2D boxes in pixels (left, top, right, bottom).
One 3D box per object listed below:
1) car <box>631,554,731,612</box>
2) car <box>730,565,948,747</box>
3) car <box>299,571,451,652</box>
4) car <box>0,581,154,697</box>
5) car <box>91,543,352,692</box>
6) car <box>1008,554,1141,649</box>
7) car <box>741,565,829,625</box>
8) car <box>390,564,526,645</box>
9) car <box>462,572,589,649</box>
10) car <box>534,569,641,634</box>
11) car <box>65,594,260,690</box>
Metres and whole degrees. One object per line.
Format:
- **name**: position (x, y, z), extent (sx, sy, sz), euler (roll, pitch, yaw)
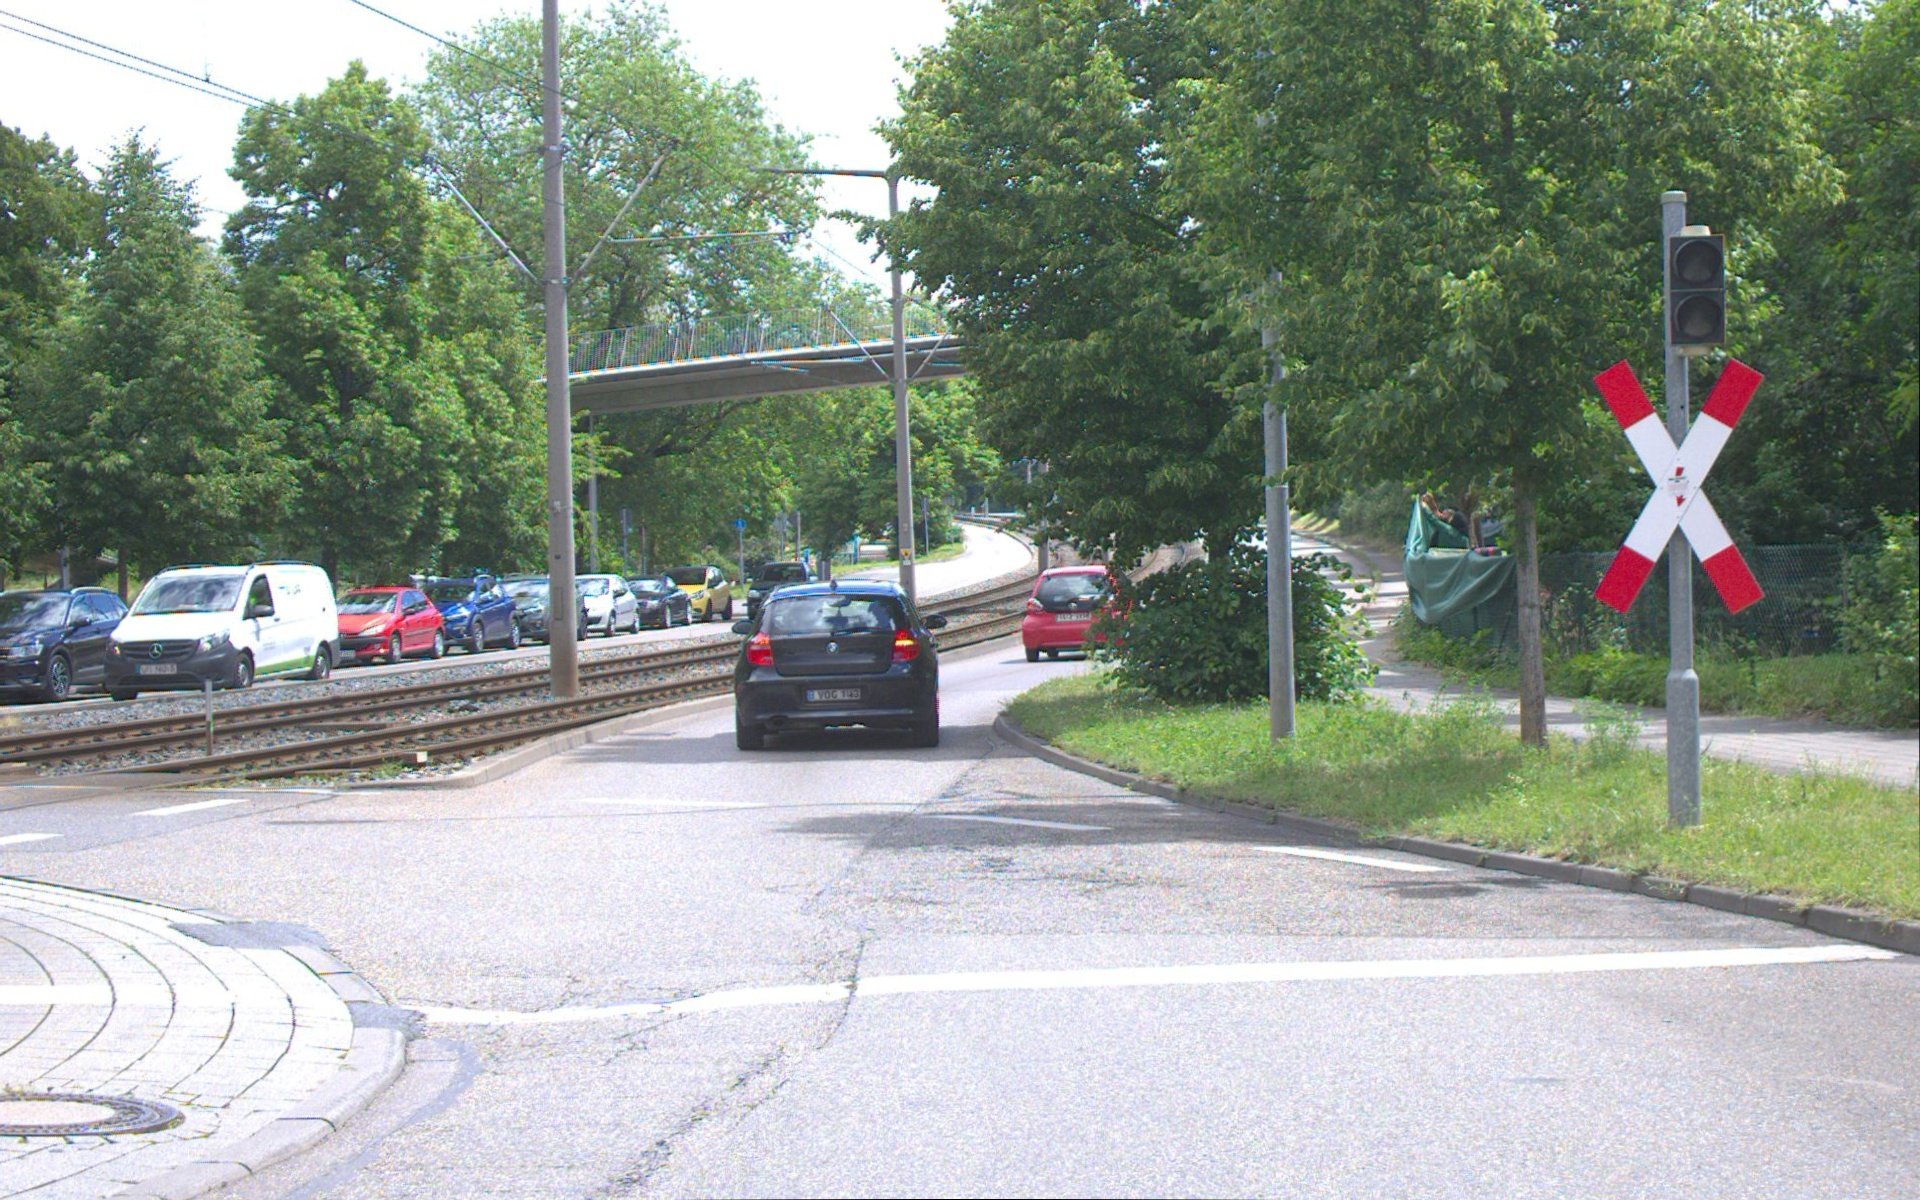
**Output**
- **car**: position (-7.234, -0.429, 89.448), extent (1.690, 1.445, 3.897), euler (0, -1, 9)
- **car**: position (-0.998, 0.440, 30.166), extent (1.708, 1.455, 3.960), euler (0, 1, 1)
- **car**: position (-11.059, 0.226, 65.239), extent (1.613, 1.489, 4.046), euler (0, -1, 9)
- **car**: position (-13.314, 0.561, 49.899), extent (1.581, 1.600, 4.373), euler (0, -1, 9)
- **car**: position (-10.484, 0.264, 49.232), extent (1.875, 2.012, 5.233), euler (0, -1, 9)
- **car**: position (1.828, 0.038, 53.967), extent (1.625, 1.438, 3.420), euler (0, 0, 10)
- **car**: position (-4.638, -0.117, 91.717), extent (1.614, 1.569, 3.999), euler (0, 0, 8)
- **car**: position (-10.243, 0.112, 70.377), extent (1.558, 1.590, 4.158), euler (0, -1, 9)
- **car**: position (-9.528, 0.212, 75.683), extent (1.643, 1.617, 4.124), euler (-1, 0, 9)
- **car**: position (-8.792, 0.028, 81.404), extent (1.594, 1.489, 4.191), euler (0, 0, 7)
- **car**: position (-12.586, 0.660, 54.487), extent (1.613, 1.456, 4.006), euler (0, -1, 9)
